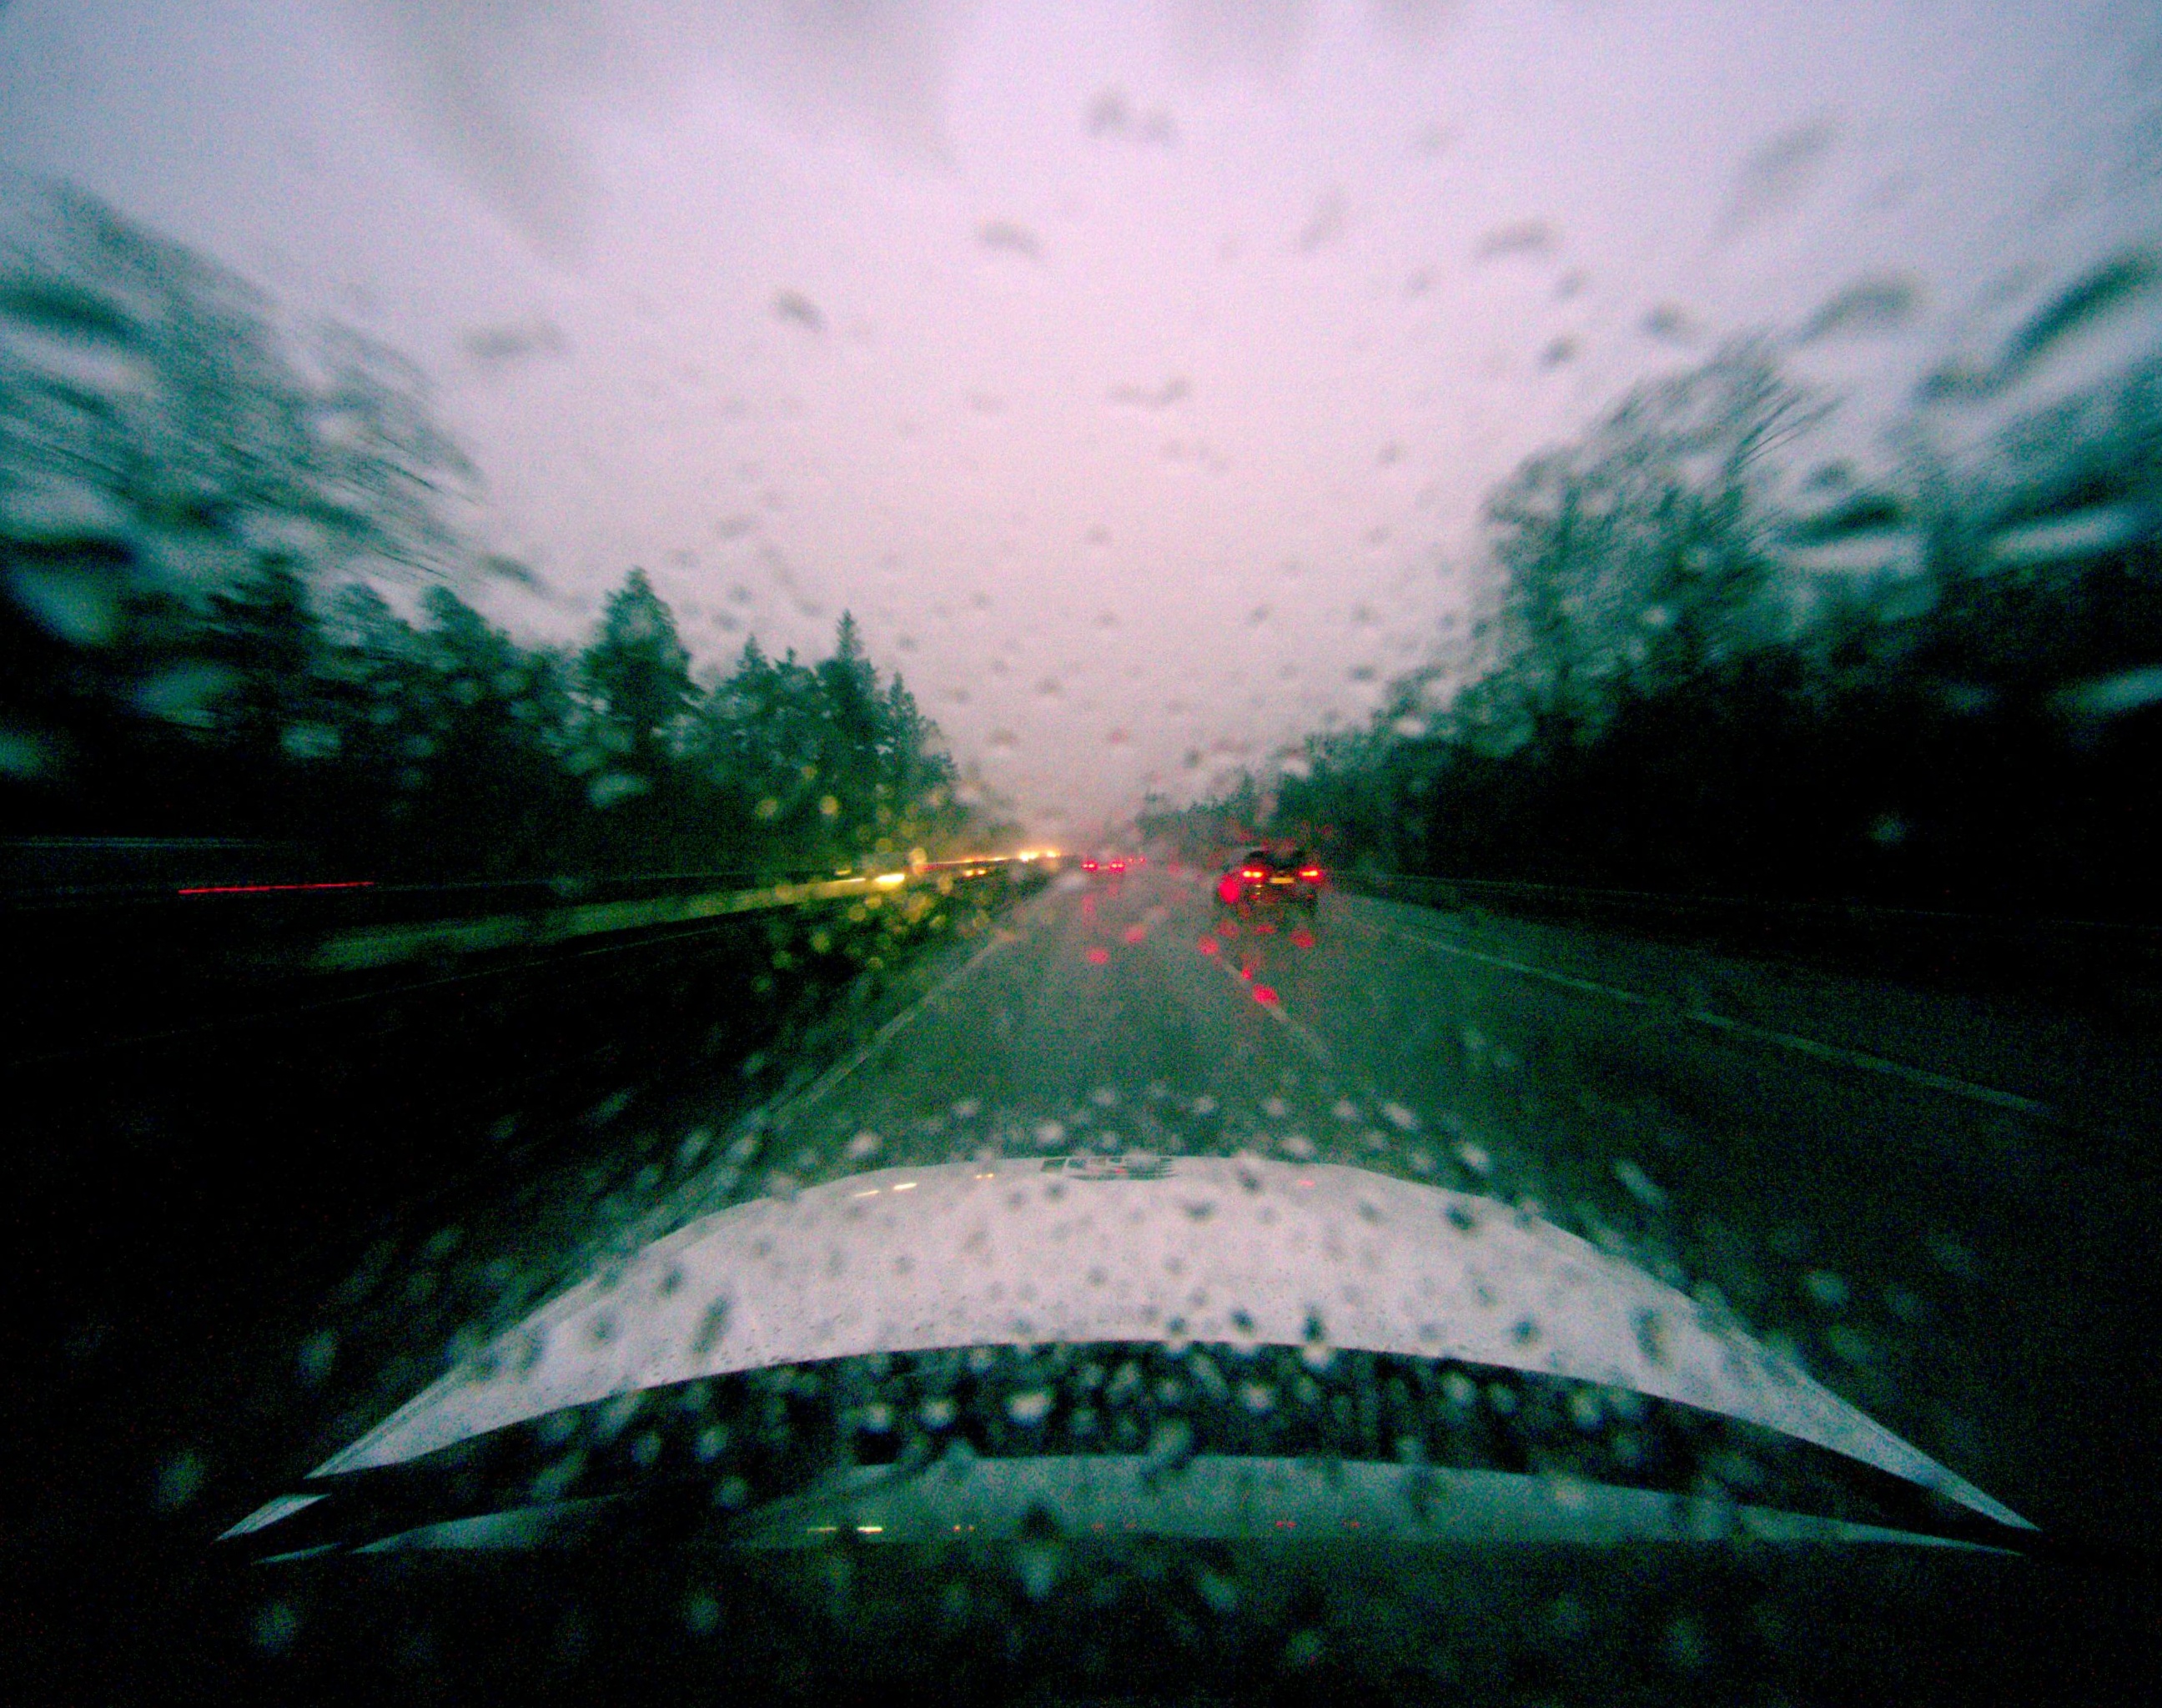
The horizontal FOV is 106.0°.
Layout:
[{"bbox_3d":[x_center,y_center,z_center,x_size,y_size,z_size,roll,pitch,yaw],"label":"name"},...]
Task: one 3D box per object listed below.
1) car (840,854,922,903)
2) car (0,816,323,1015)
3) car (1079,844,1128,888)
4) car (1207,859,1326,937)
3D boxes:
[{"bbox_3d":[-6.937,0.804,28.657,1.803,1.567,4.000,-1,0,1],"label":"car"},{"bbox_3d":[-11.535,0.611,8.892,1.986,1.950,4.714,-1,0,2],"label":"car"},{"bbox_3d":[1.041,0.512,36.036,1.978,1.767,4.176,-2,0,3],"label":"car"},{"bbox_3d":[4.501,0.993,20.440,2.063,1.698,4.462,-1,0,1],"label":"car"}]
